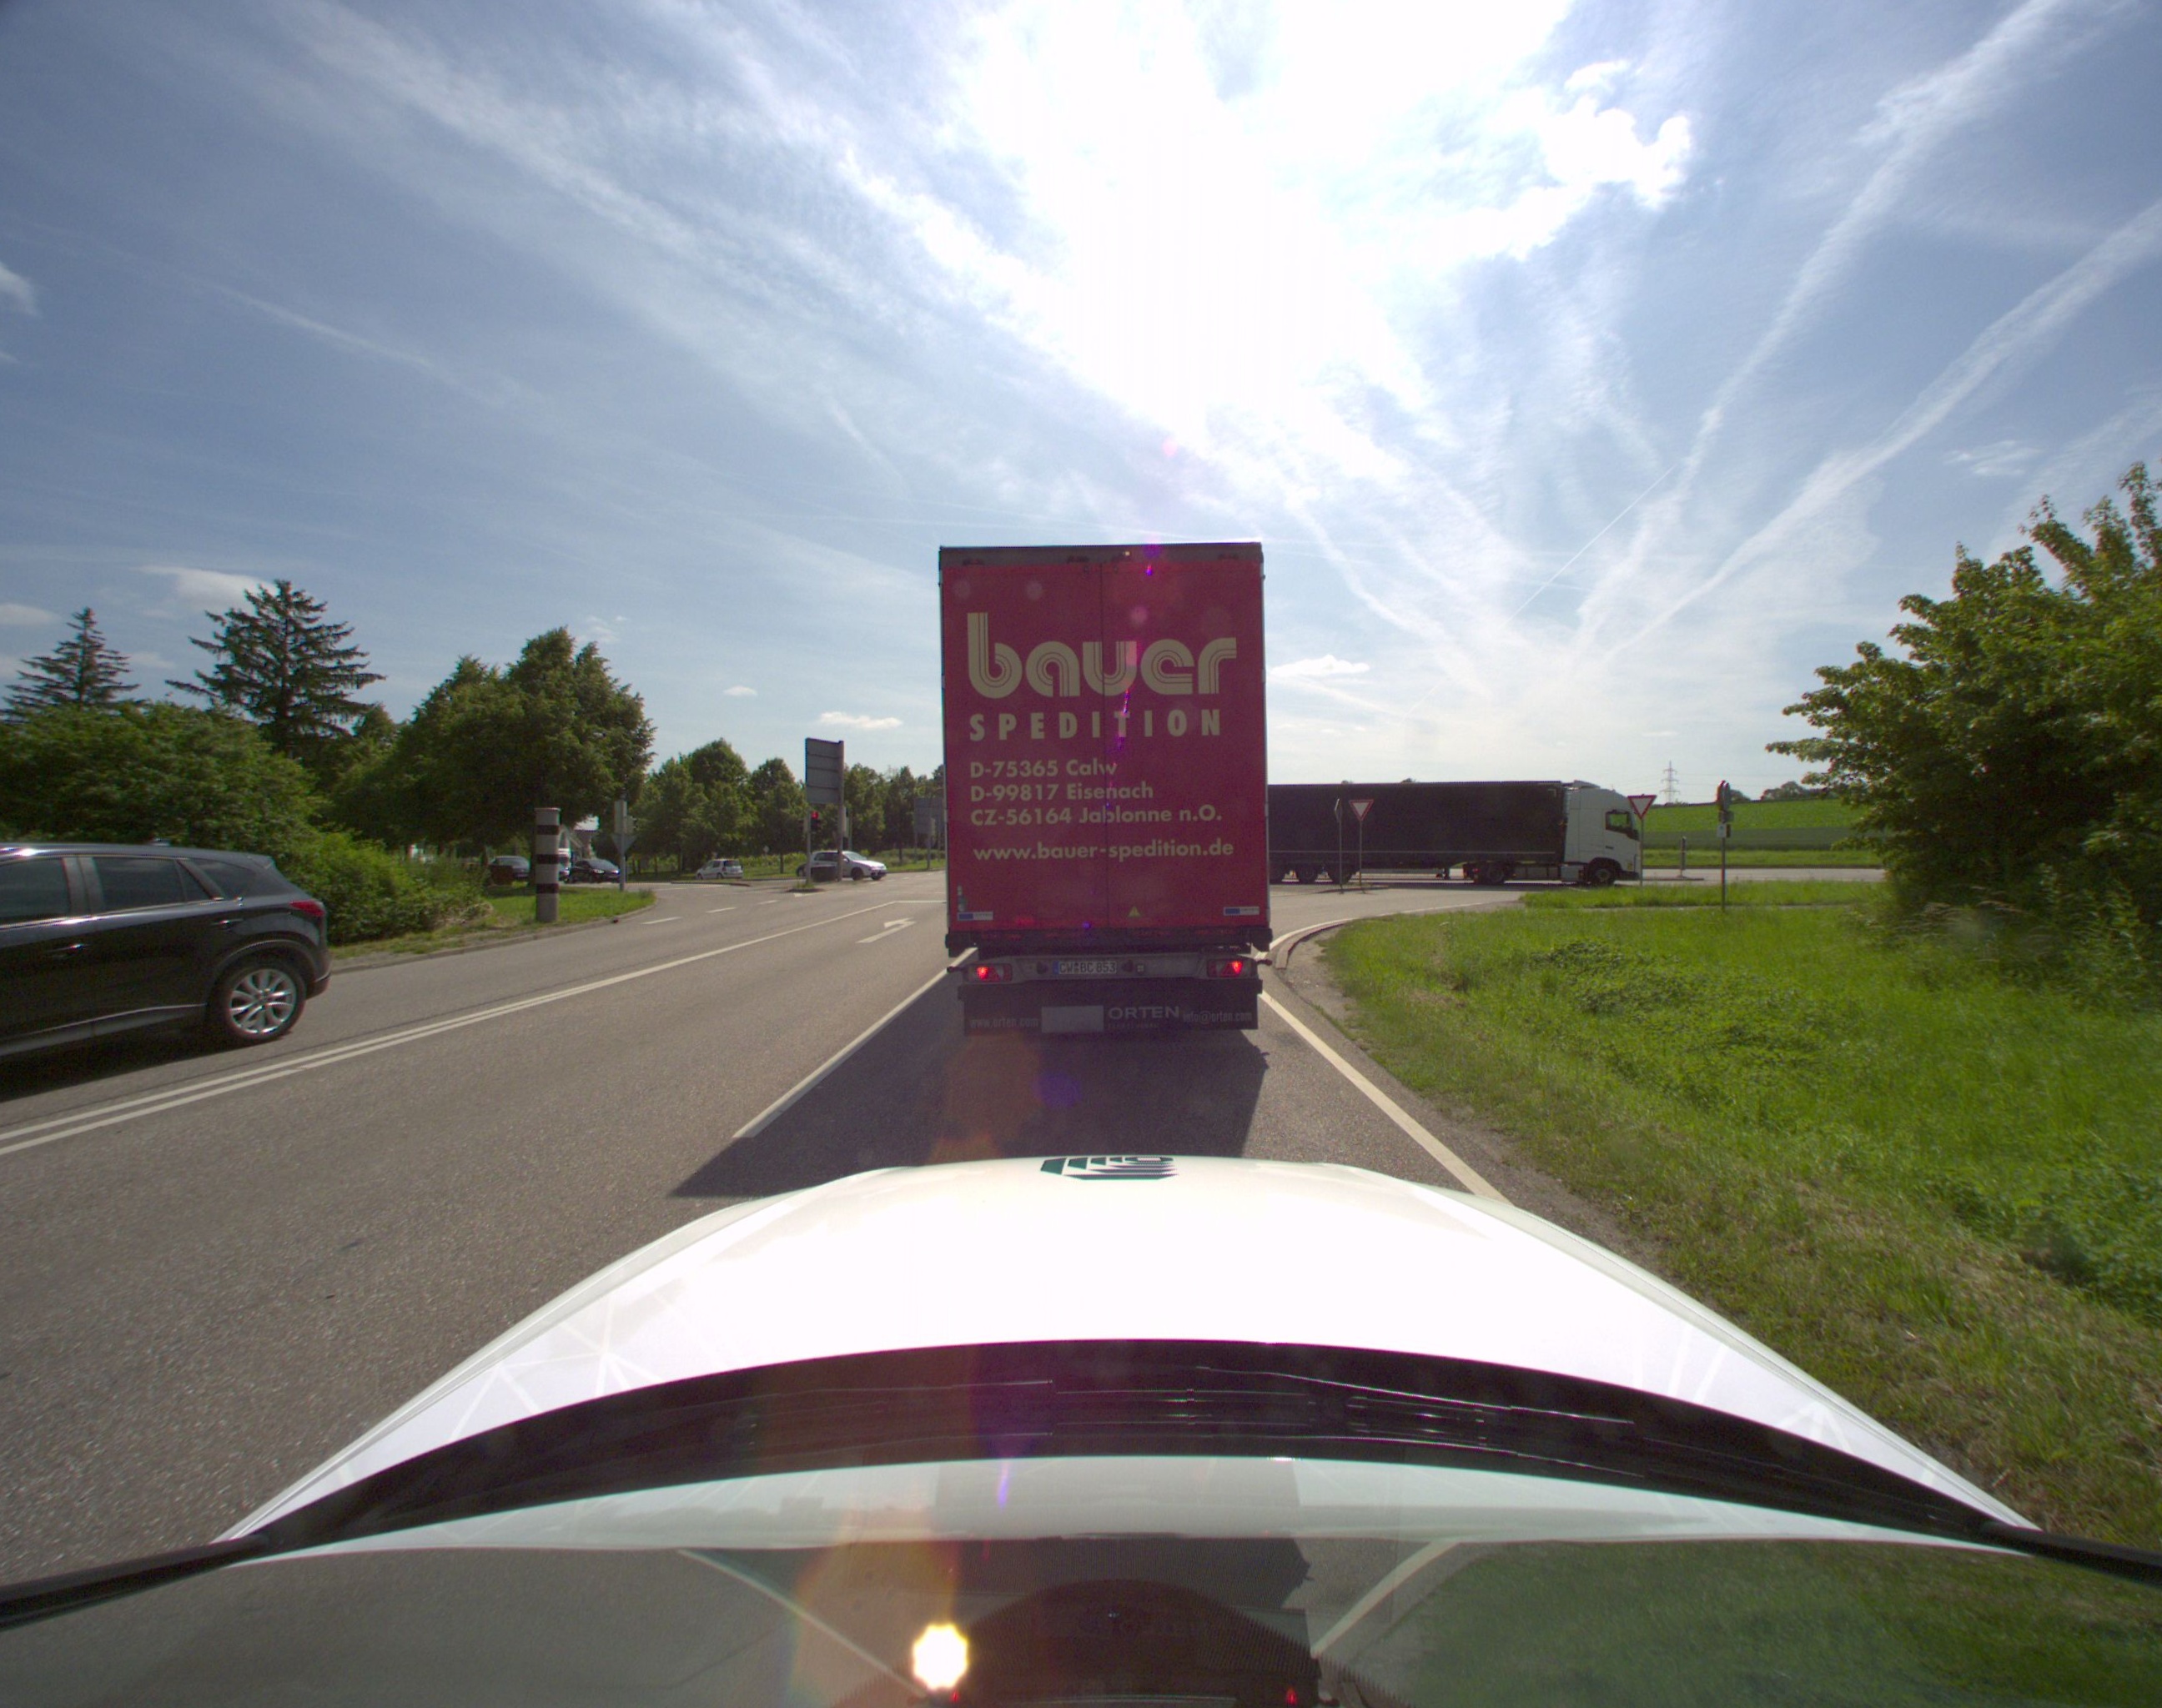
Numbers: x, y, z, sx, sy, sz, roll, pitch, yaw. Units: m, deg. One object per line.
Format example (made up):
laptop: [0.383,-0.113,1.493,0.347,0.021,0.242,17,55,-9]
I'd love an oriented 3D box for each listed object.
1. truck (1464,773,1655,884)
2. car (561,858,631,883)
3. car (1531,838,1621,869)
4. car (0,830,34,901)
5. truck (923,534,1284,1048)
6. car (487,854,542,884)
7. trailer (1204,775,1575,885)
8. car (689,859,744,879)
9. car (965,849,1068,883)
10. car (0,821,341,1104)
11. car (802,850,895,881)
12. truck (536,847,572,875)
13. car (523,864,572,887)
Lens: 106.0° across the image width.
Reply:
truck: [18.350,-0.934,31.604,5.789,4.061,2.807,0,1,11]
car: [-28.333,0.927,47.508,4.225,1.305,1.753,-1,2,33]
car: [26.278,-0.041,43.367,3.951,1.596,1.674,0,-1,25]
car: [-35.493,0.331,24.417,4.601,2.180,1.985,0,0,-22]
truck: [0.401,-0.537,14.580,2.724,3.925,16.631,-1,0,2]
car: [-31.997,0.807,45.964,4.216,1.597,1.820,0,1,45]
trailer: [12.023,-0.869,33.085,13.584,4.061,2.809,0,1,14]
car: [-26.122,1.036,58.320,3.811,1.357,1.687,0,1,30]
car: [-2.914,0.505,36.872,4.211,1.461,1.819,0,1,19]
car: [-7.627,0.683,5.260,1.860,1.750,4.111,-1,0,1]
car: [-11.380,0.555,39.860,4.002,1.416,1.803,0,1,18]
truck: [-71.824,0.980,111.145,2.951,3.798,7.861,0,-1,-25]
car: [-35.321,1.375,53.862,4.227,1.429,1.752,-1,0,43]
